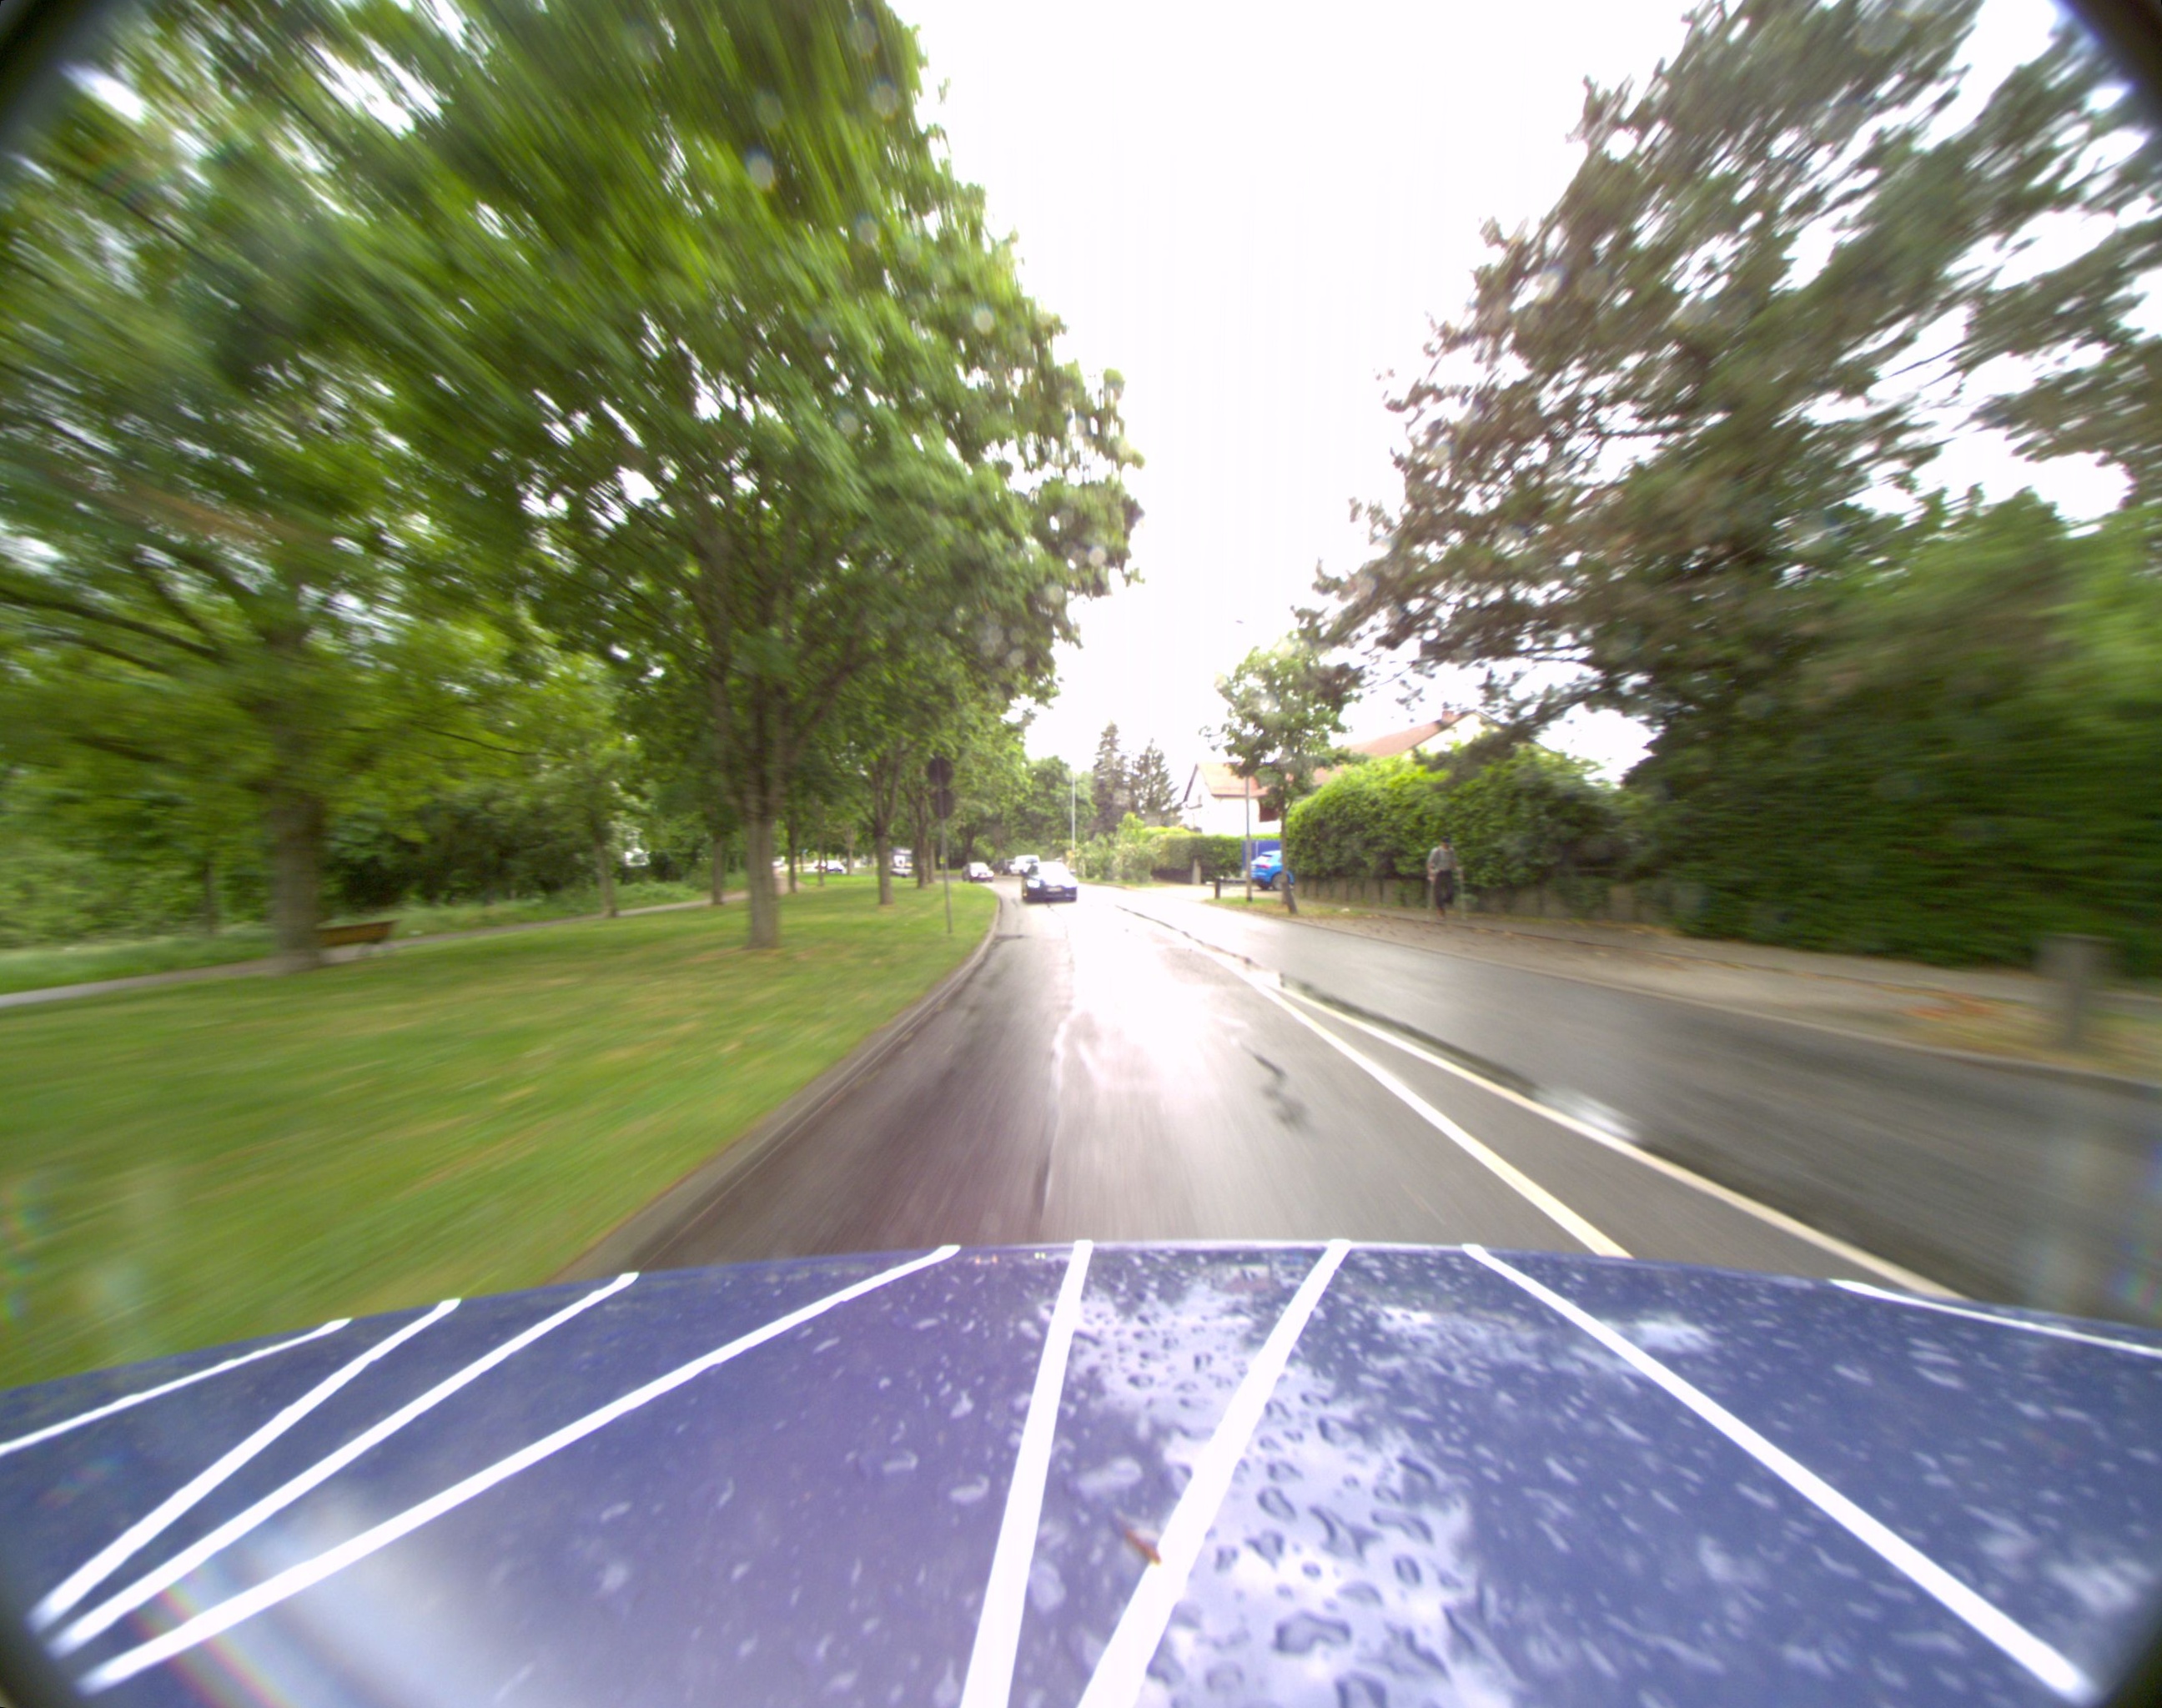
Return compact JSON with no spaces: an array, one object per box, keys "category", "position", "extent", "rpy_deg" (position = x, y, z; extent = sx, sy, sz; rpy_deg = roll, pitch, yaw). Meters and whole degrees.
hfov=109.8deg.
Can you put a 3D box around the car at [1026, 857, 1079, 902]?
[{"category":"car","position":[-1.064,0.919,28.964],"extent":[1.839,1.502,3.999],"rpy_deg":[-1,1,-2]}]

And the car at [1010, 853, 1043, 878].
[{"category":"car","position":[-4.921,0.992,67.872],"extent":[2.001,2.077,3.994],"rpy_deg":[-2,0,-18]}]

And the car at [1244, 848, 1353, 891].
[{"category":"car","position":[8.902,0.621,31.184],"extent":[3.864,1.577,1.816],"rpy_deg":[-2,1,-9]}]

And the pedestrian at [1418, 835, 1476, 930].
[{"category":"pedestrian","position":[7.278,0.546,15.131],"extent":[0.713,1.820,0.881],"rpy_deg":[-1,1,0]}]

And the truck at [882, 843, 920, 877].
[{"category":"truck","position":[-17.021,0.572,71.601],"extent":[2.150,3.028,5.156],"rpy_deg":[-2,1,-28]}]

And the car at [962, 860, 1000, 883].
[{"category":"car","position":[-7.618,1.325,57.611],"extent":[2.002,1.606,3.993],"rpy_deg":[-2,0,-21]}]
